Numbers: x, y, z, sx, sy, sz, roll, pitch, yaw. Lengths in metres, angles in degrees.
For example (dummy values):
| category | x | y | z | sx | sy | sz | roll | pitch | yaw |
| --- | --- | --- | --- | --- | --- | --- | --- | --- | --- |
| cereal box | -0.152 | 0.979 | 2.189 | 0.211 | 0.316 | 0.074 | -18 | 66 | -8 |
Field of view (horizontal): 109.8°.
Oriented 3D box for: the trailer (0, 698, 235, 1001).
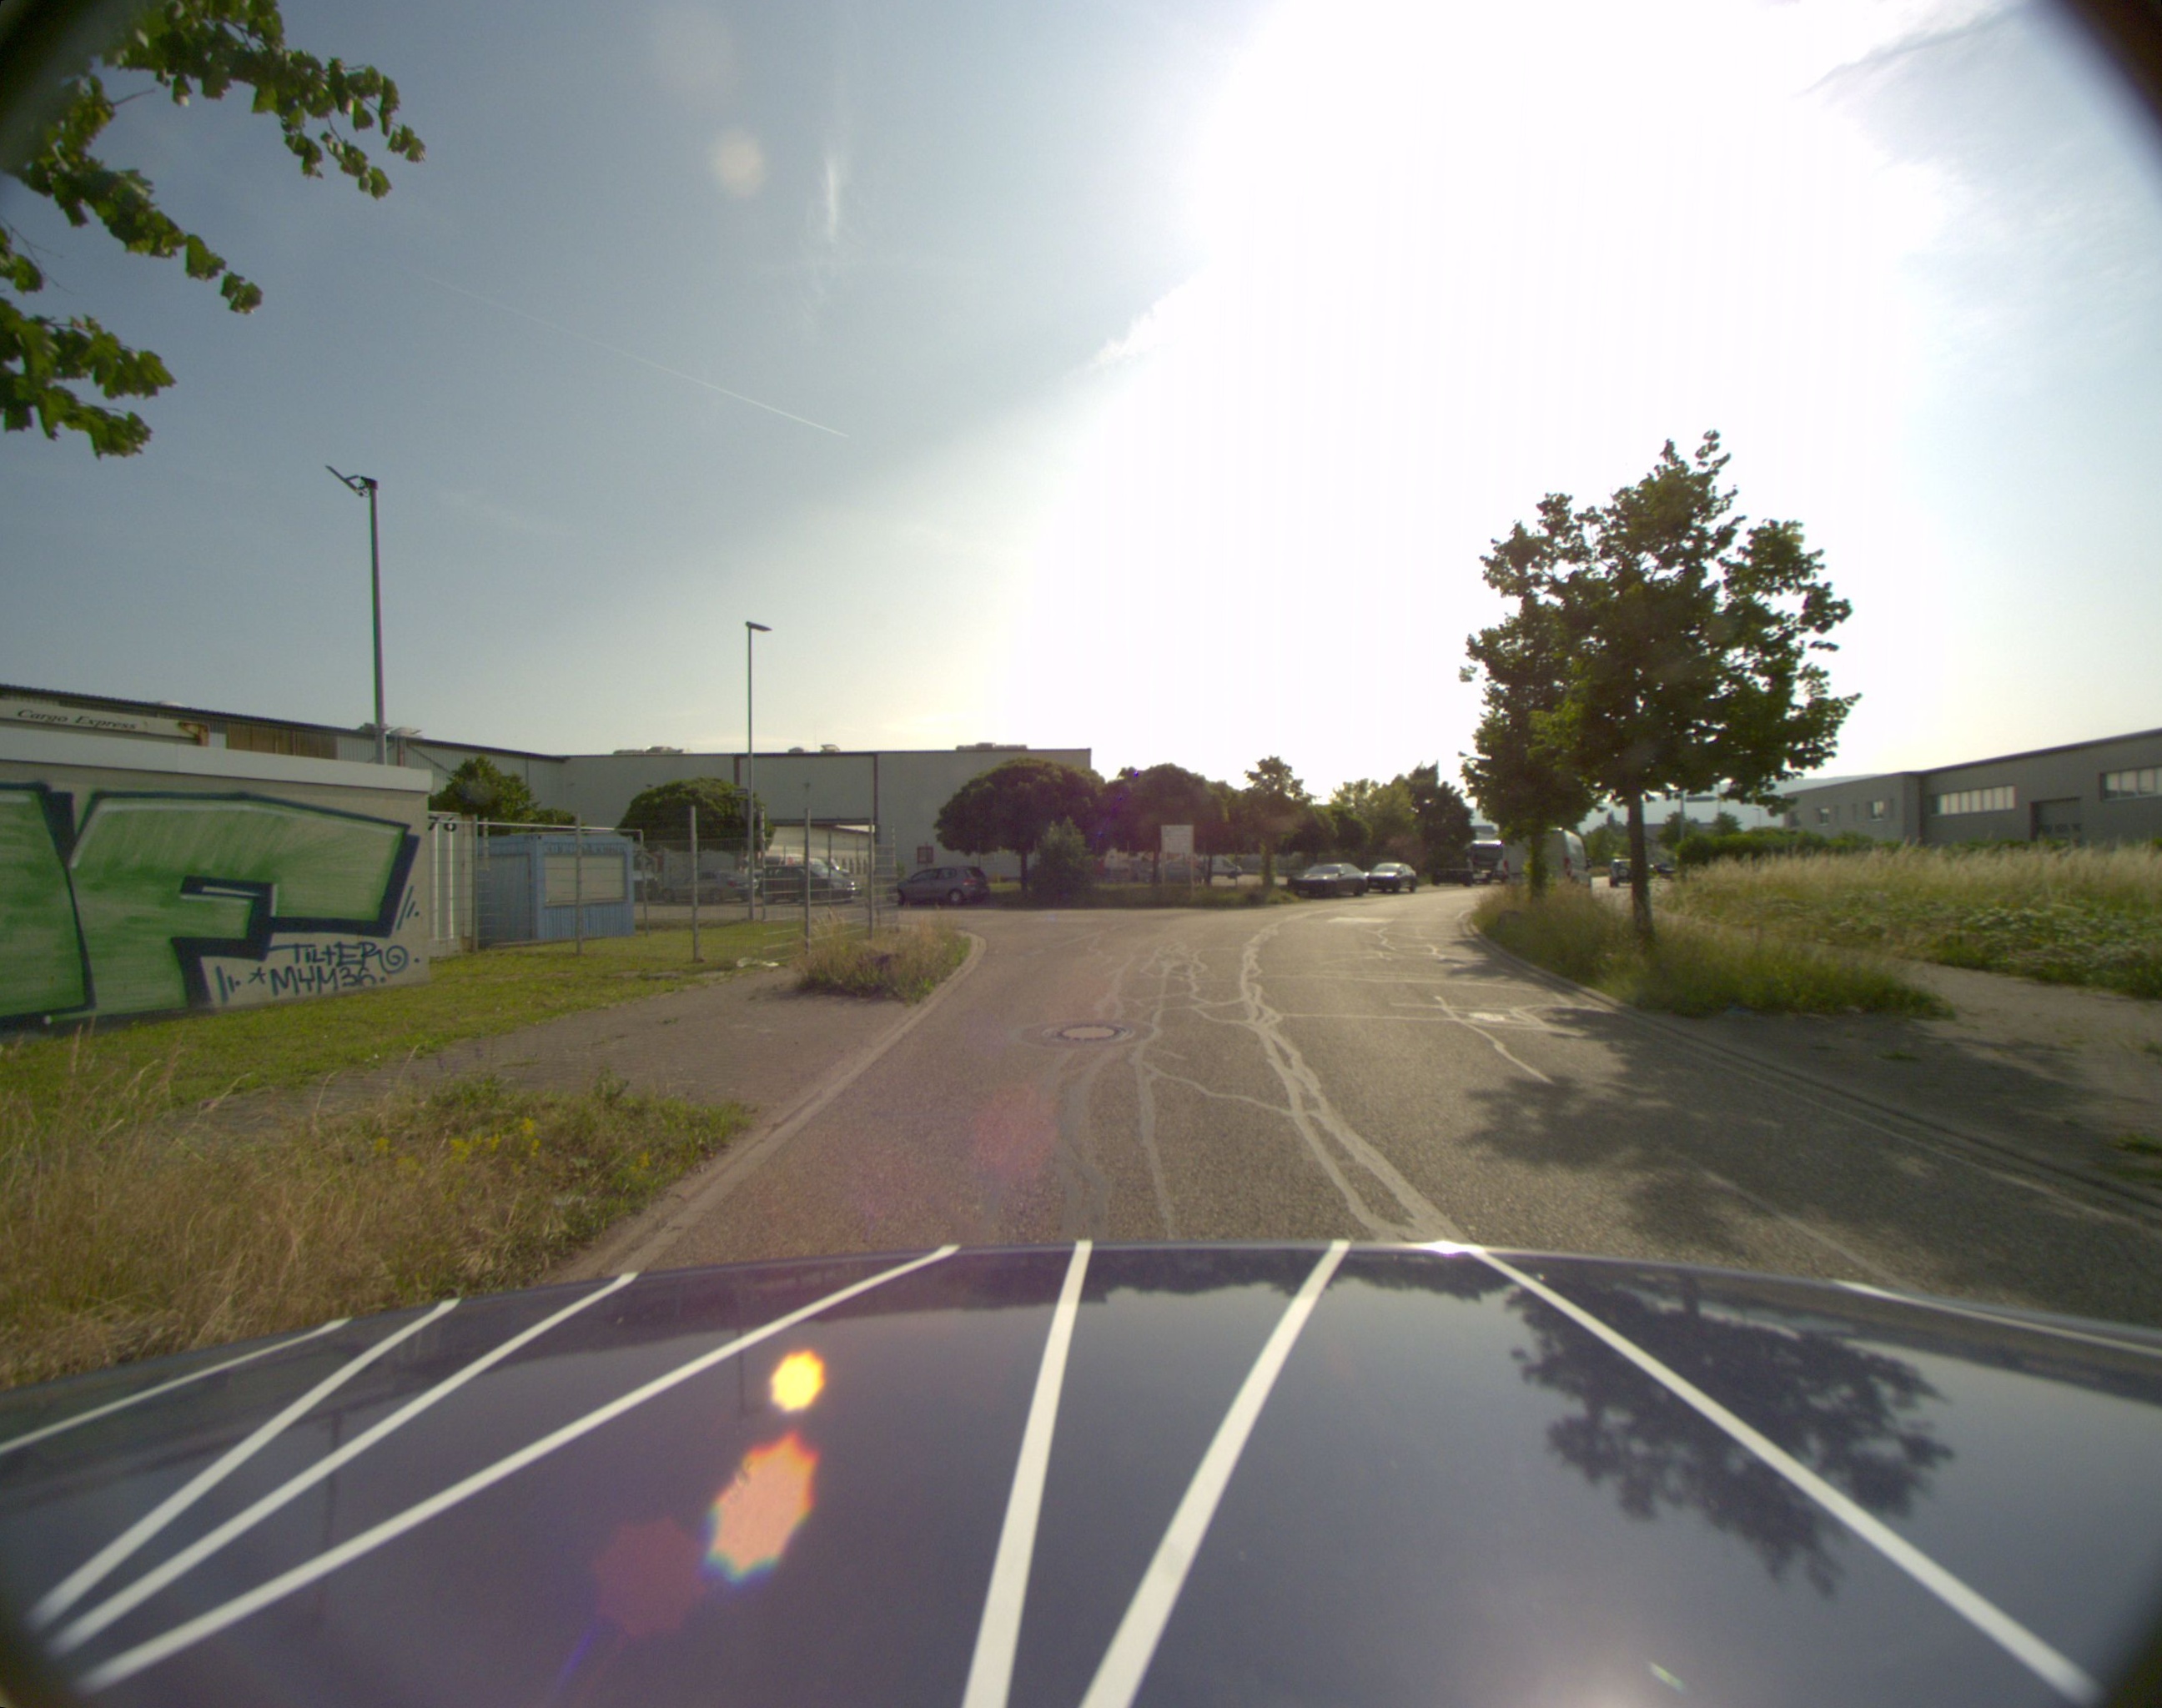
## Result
| category | x | y | z | sx | sy | sz | roll | pitch | yaw |
| --- | --- | --- | --- | --- | --- | --- | --- | --- | --- |
| trailer | -17.558 | 0.004 | 11.819 | 8.544 | 3.872 | 2.779 | -1 | 2 | 21 |

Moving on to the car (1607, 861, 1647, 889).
| category | x | y | z | sx | sy | sz | roll | pitch | yaw |
| --- | --- | --- | --- | --- | --- | --- | --- | --- | --- |
| car | 33.619 | 1.255 | 46.731 | 1.598 | 1.641 | 3.652 | -2 | -2 | 42 |

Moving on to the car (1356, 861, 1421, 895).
| category | x | y | z | sx | sy | sz | roll | pitch | yaw |
| --- | --- | --- | --- | --- | --- | --- | --- | --- | --- |
| car | 16.430 | 1.233 | 40.467 | 1.881 | 1.565 | 4.122 | 3 | 2 | 42 |

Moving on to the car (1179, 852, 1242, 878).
| category | x | y | z | sx | sy | sz | roll | pitch | yaw |
| --- | --- | --- | --- | --- | --- | --- | --- | --- | --- |
| car | 13.597 | 1.121 | 79.911 | 6.268 | 2.633 | 2.213 | 0 | 0 | 1 |

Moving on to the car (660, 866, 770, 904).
| category | x | y | z | sx | sy | sz | roll | pitch | yaw |
| --- | --- | --- | --- | --- | --- | --- | --- | --- | --- |
| car | -16.011 | 1.353 | 33.249 | 4.481 | 1.509 | 1.730 | -1 | 2 | 23 |

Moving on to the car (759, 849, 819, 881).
| category | x | y | z | sx | sy | sz | roll | pitch | yaw |
| --- | --- | --- | --- | --- | --- | --- | --- | --- | --- |
| car | -23.787 | 0.860 | 62.308 | 2.173 | 2.503 | 6.701 | -1 | 0 | 1 |

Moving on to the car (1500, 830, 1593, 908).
| category | x | y | z | sx | sy | sz | roll | pitch | yaw |
| --- | --- | --- | --- | --- | --- | --- | --- | --- | --- |
| car | 17.451 | 0.549 | 28.280 | 2.103 | 2.579 | 6.518 | -1 | -1 | 39 |

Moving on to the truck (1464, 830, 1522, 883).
| category | x | y | z | sx | sy | sz | roll | pitch | yaw |
| --- | --- | --- | --- | --- | --- | --- | --- | --- | --- |
| truck | 32.067 | 0.170 | 58.984 | 2.692 | 3.942 | 6.061 | 2 | 1 | 40 |

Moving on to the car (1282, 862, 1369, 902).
| category | x | y | z | sx | sy | sz | roll | pitch | yaw |
| --- | --- | --- | --- | --- | --- | --- | --- | --- | --- |
| car | 11.315 | 1.229 | 34.955 | 1.881 | 1.565 | 5.129 | 1 | 1 | 42 |

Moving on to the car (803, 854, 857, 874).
| category | x | y | z | sx | sy | sz | roll | pitch | yaw |
| --- | --- | --- | --- | --- | --- | --- | --- | --- | --- |
| car | -25.675 | 1.008 | 77.734 | 4.843 | 2.072 | 1.932 | 0 | 0 | 4 |

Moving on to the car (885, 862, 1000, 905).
| category | x | y | z | sx | sy | sz | roll | pitch | yaw |
| --- | --- | --- | --- | --- | --- | --- | --- | --- | --- |
| car | -5.309 | 1.128 | 29.220 | 3.952 | 1.515 | 1.730 | -1 | 2 | 20 |

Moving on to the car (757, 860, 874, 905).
| category | x | y | z | sx | sy | sz | roll | pitch | yaw |
| --- | --- | --- | --- | --- | --- | --- | --- | --- | --- |
| car | -10.778 | 1.172 | 30.838 | 4.259 | 1.615 | 1.881 | -3 | -2 | 23 |

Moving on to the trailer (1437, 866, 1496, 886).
| category | x | y | z | sx | sy | sz | roll | pitch | yaw |
| --- | --- | --- | --- | --- | --- | --- | --- | --- | --- |
| trailer | 27.029 | 1.511 | 53.113 | 1.939 | 1.228 | 7.467 | 1 | 1 | 41 |

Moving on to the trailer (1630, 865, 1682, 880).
| category | x | y | z | sx | sy | sz | roll | pitch | yaw |
| --- | --- | --- | --- | --- | --- | --- | --- | --- | --- |
| trailer | 46.344 | 1.473 | 61.105 | 2.547 | 1.067 | 9.753 | -3 | -3 | 42 |

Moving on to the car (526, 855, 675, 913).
| category | x | y | z | sx | sy | sz | roll | pitch | yaw |
| --- | --- | --- | --- | --- | --- | --- | --- | --- | --- |
| car | -22.696 | 1.402 | 35.847 | 6.832 | 2.469 | 2.210 | -1 | 2 | 22 |
